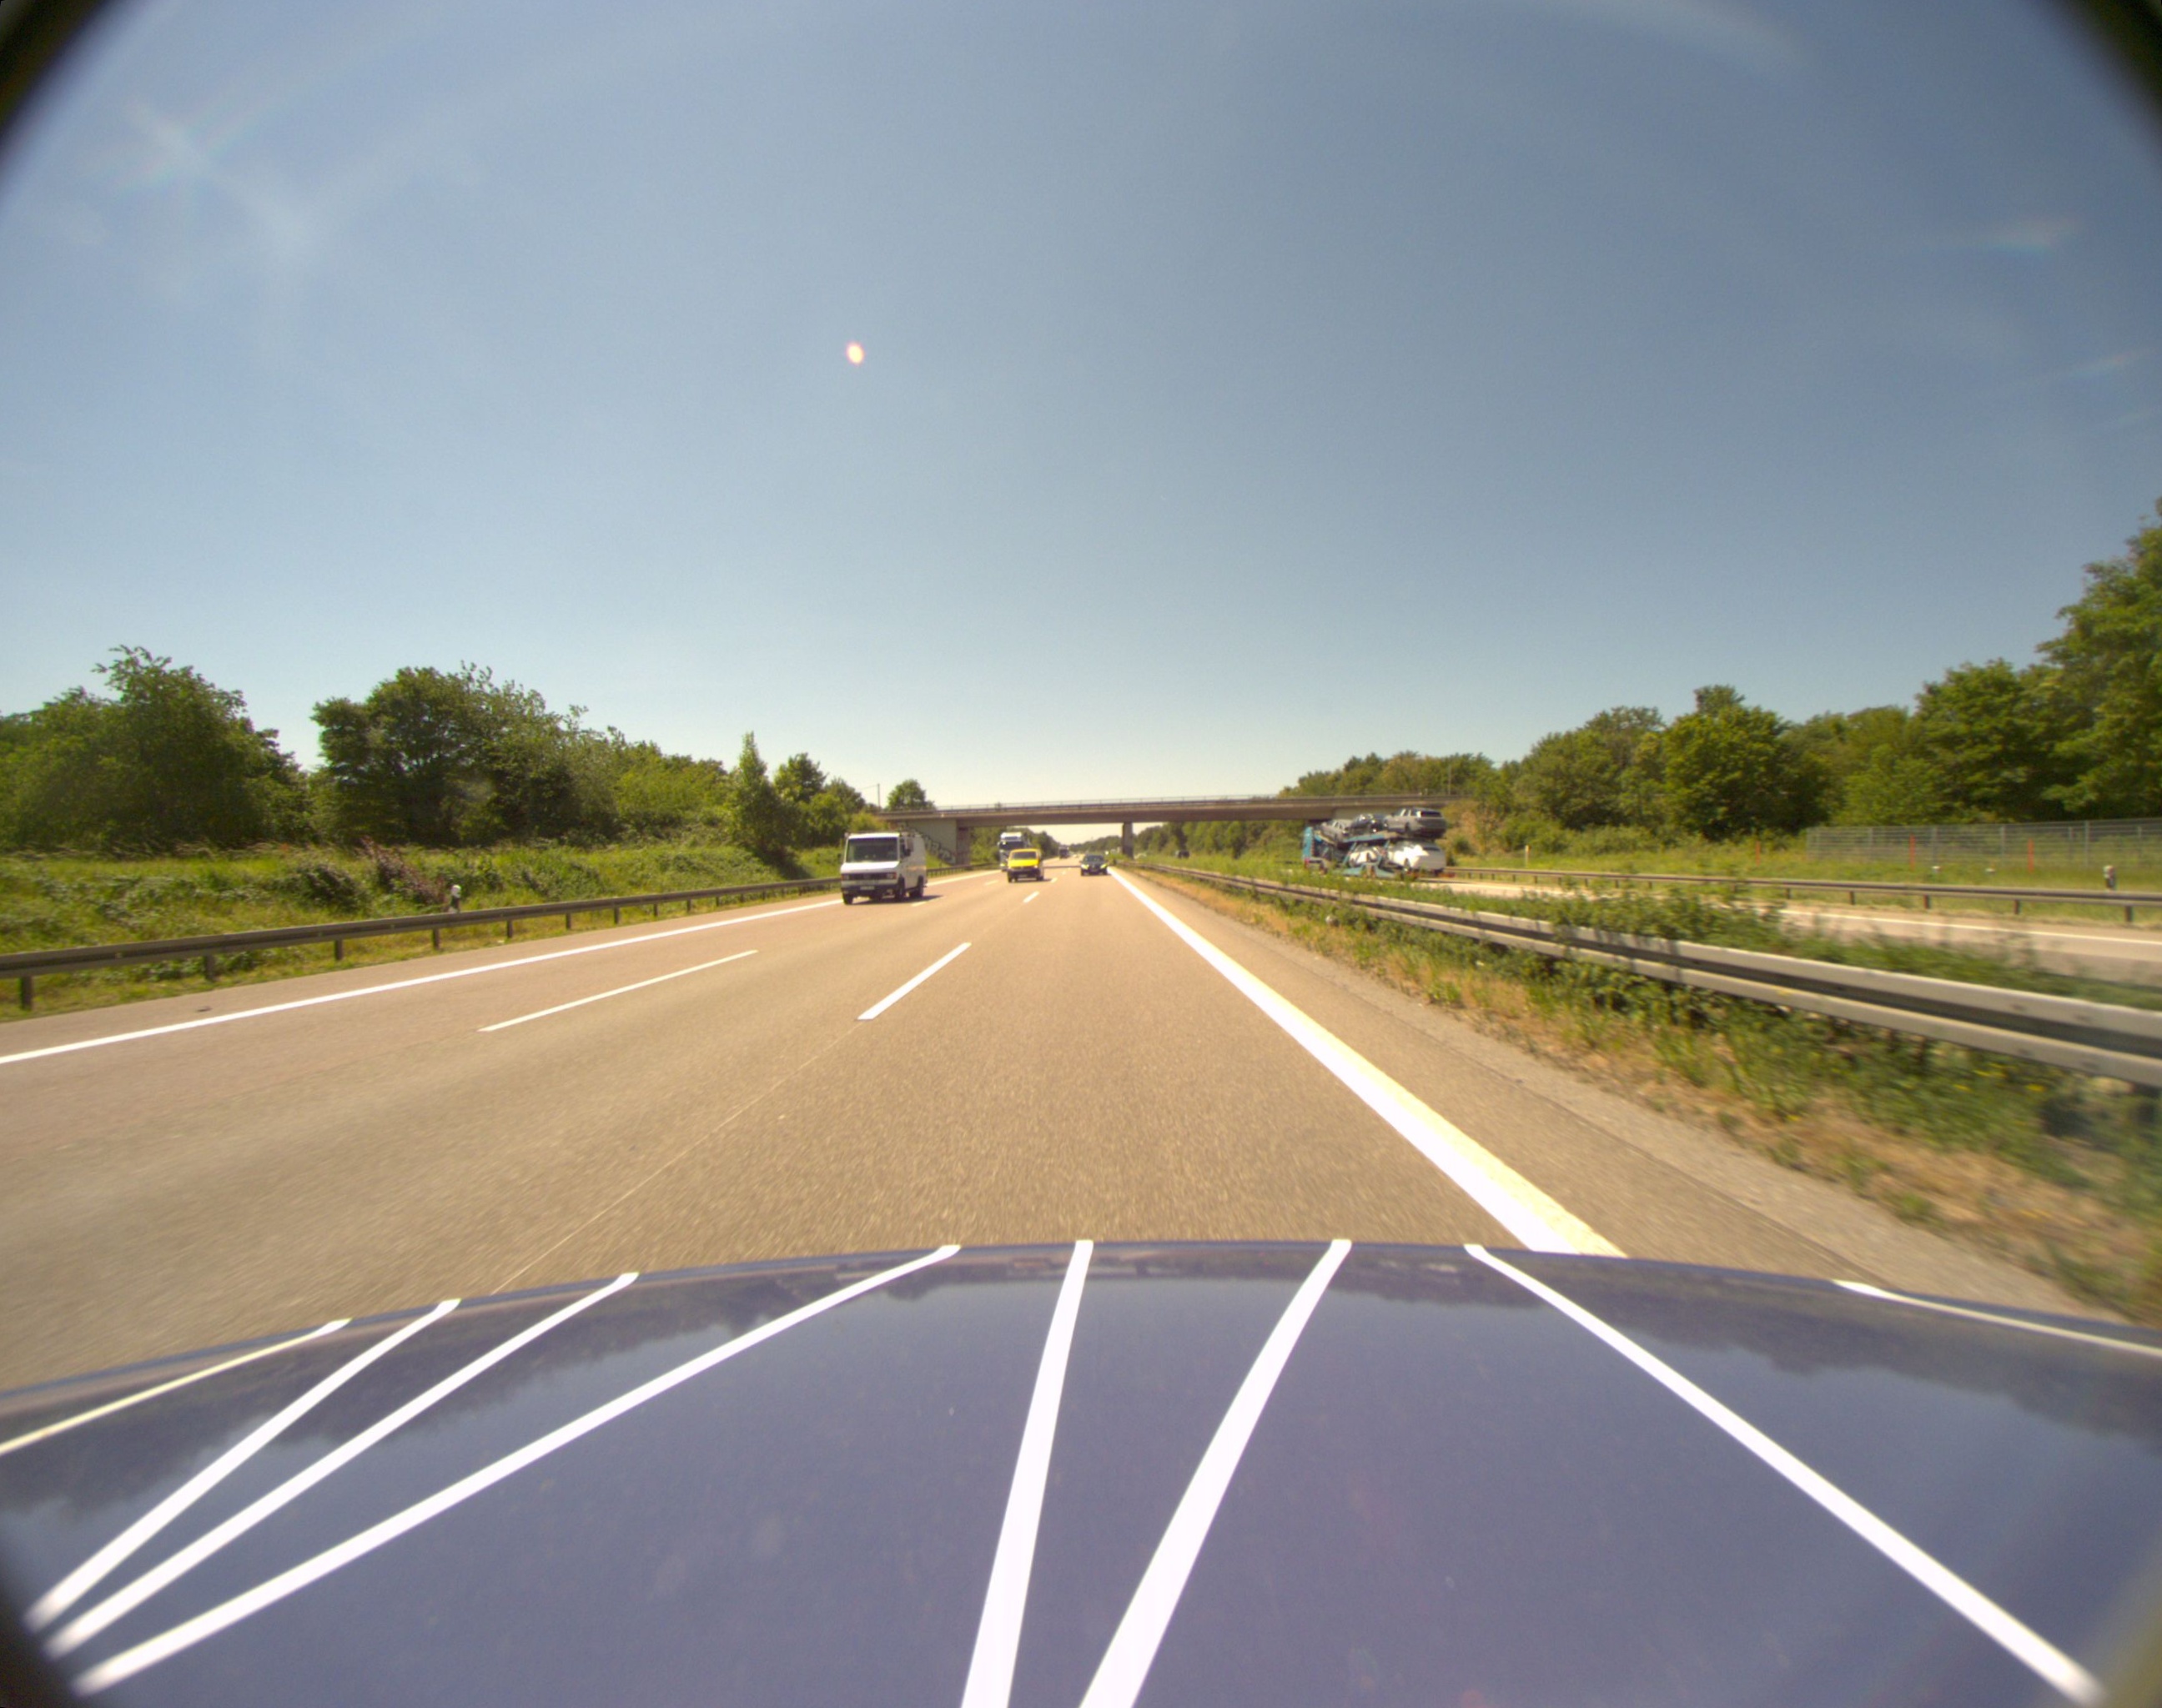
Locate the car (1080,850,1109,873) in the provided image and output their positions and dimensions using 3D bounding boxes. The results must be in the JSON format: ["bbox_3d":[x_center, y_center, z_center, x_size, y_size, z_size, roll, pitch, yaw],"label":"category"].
[{"bbox_3d":[0.891,0.496,53.034,1.894,1.541,4.038,0,1,0],"label":"car"}]

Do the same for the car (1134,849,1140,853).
[{"bbox_3d":[16.387,-0.934,223.260,1.398,1.245,3.584,-4,1,1],"label":"car"}]

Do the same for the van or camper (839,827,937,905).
[{"bbox_3d":[-7.430,0.400,30.094,2.119,2.687,6.366,-2,1,0],"label":"van or camper"}]

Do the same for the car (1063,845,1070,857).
[{"bbox_3d":[-4.795,-1.047,253.661,2.298,3.886,9.267,0,1,0],"label":"car"}]

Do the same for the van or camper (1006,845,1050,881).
[{"bbox_3d":[-3.124,0.493,46.226,2.063,1.992,5.883,-2,1,1],"label":"van or camper"}]

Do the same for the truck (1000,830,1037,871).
[{"bbox_3d":[-6.703,-0.445,83.761,2.806,4.022,13.352,-3,1,0],"label":"truck"}]

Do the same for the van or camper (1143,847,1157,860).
[{"bbox_3d":[10.555,-0.109,116.435,1.715,1.759,3.999,-3,1,0],"label":"van or camper"}]

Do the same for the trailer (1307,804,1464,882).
[{"bbox_3d":[18.383,-0.649,48.097,2.886,3.955,17.472,2,1,0],"label":"trailer"}]

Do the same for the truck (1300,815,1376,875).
[{"bbox_3d":[18.422,-0.647,54.953,2.886,3.952,7.371,2,1,0],"label":"truck"}]

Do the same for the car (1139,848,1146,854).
[{"bbox_3d":[15.070,-0.758,185.998,1.518,1.379,3.167,-3,1,2],"label":"car"}]

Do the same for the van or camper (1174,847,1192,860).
[{"bbox_3d":[15.060,-0.077,112.572,1.999,1.859,4.455,0,1,0],"label":"van or camper"}]
